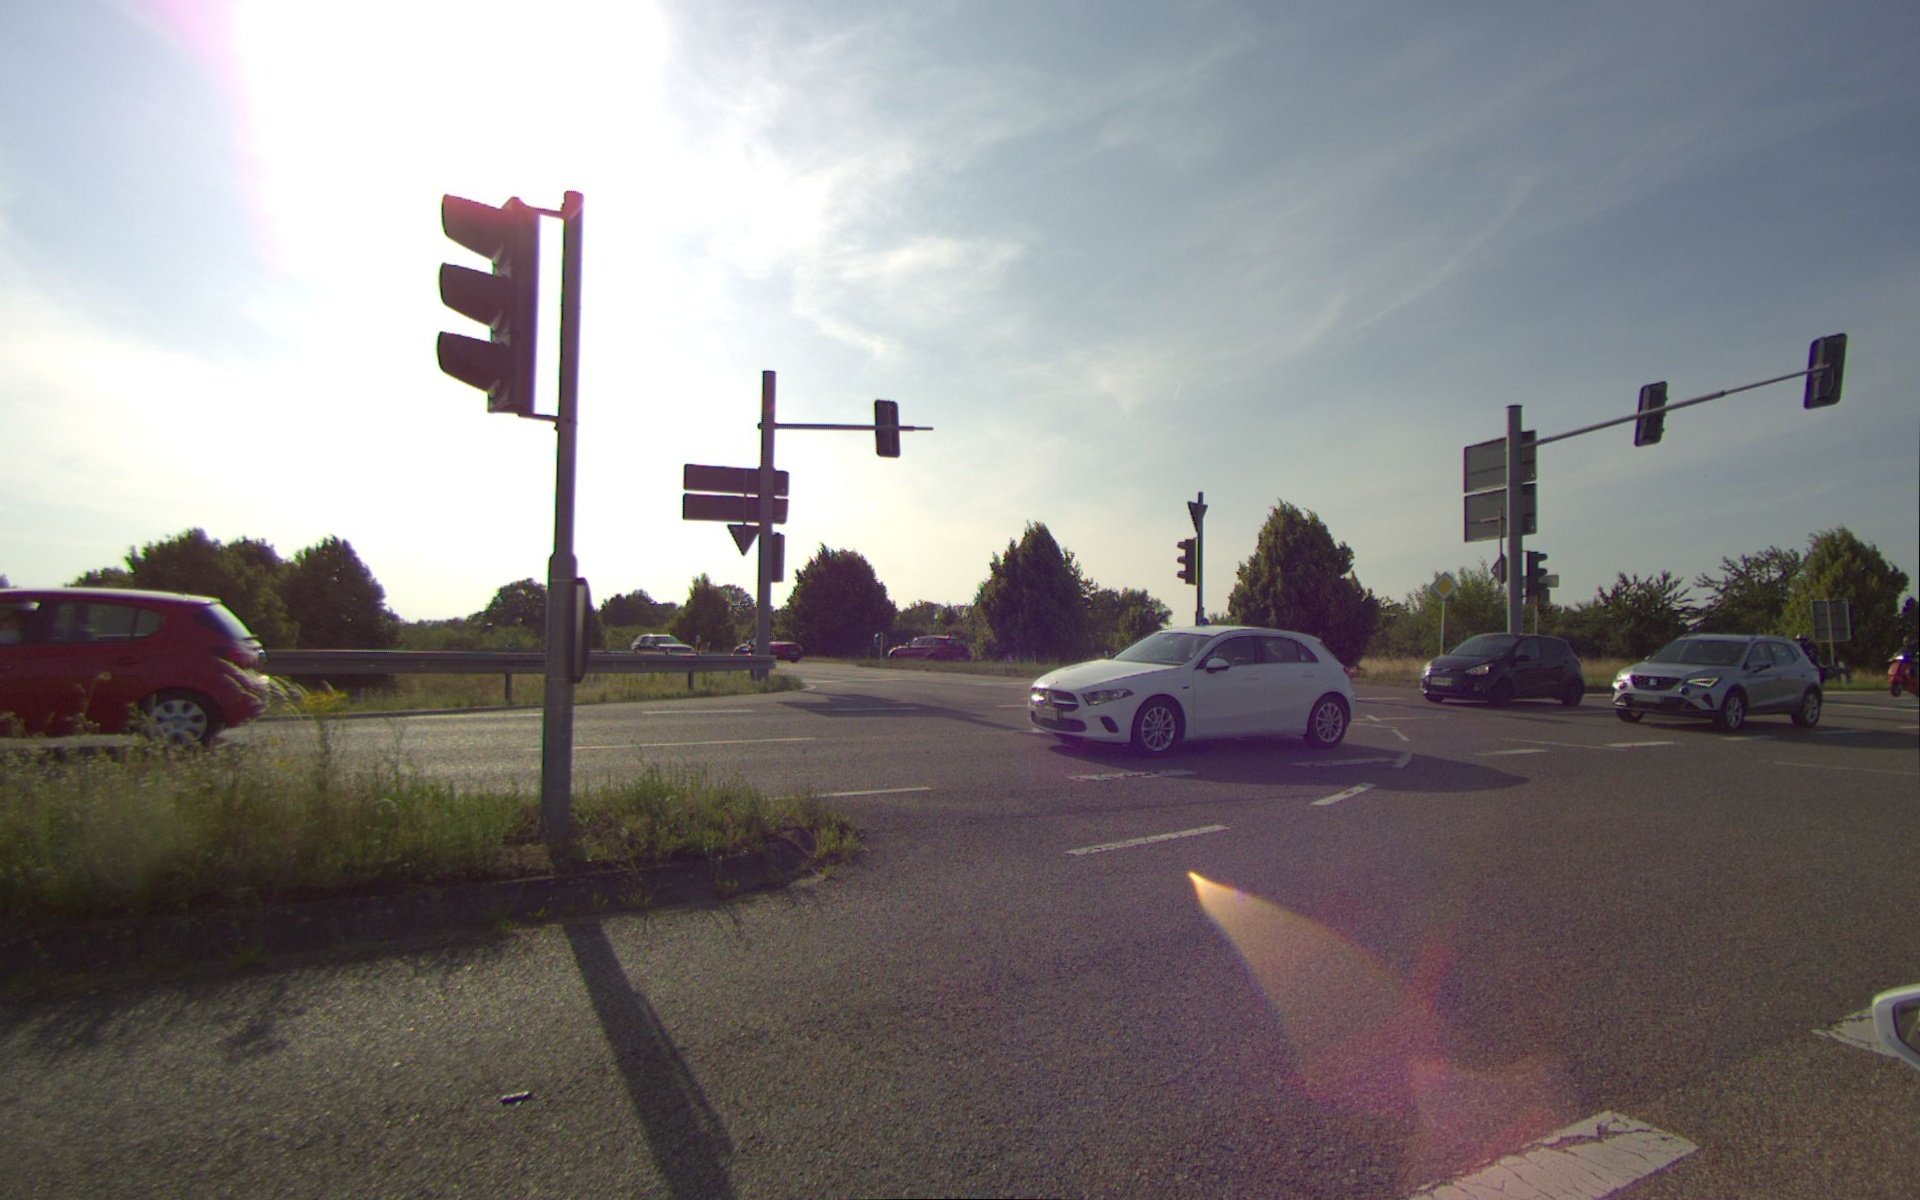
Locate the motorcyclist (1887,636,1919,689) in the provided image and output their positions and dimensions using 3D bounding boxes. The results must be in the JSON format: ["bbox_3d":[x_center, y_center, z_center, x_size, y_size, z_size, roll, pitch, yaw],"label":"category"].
[{"bbox_3d":[27.505,1.793,29.044,1.006,1.484,0.703,2,-1,-24],"label":"motorcyclist"}]

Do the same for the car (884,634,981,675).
[{"bbox_3d":[-1.244,2.335,43.922,4.073,1.607,1.915,0,-2,44],"label":"car"}]

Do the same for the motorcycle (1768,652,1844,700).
[{"bbox_3d":[21.875,1.955,25.969,2.249,1.153,0.698,2,-1,-27],"label":"motorcycle"}]

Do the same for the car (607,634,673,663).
[{"bbox_3d":[-17.588,2.660,55.190,1.946,1.416,3.949,3,-2,-43],"label":"car"}]

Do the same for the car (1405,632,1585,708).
[{"bbox_3d":[11.155,1.439,20.929,3.478,1.431,1.679,2,-1,-29],"label":"car"}]

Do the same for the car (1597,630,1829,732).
[{"bbox_3d":[12.920,1.344,17.205,4.042,1.543,1.679,2,-1,-29],"label":"car"}]

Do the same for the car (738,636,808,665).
[{"bbox_3d":[-9.888,2.639,52.977,3.944,1.372,1.649,0,-2,43],"label":"car"}]

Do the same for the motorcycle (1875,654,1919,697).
[{"bbox_3d":[27.399,2.182,28.998,1.995,1.174,0.706,2,-1,-24],"label":"motorcycle"}]

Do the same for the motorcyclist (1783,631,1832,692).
[{"bbox_3d":[21.923,1.579,25.997,0.885,1.523,0.695,2,-1,-27],"label":"motorcyclist"}]

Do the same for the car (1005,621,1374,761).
[{"bbox_3d":[2.843,1.033,12.192,4.342,1.432,1.722,2,-2,-29],"label":"car"}]

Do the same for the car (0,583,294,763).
[{"bbox_3d":[-8.440,0.614,9.008,3.977,1.486,1.652,3,-2,-31],"label":"car"}]
